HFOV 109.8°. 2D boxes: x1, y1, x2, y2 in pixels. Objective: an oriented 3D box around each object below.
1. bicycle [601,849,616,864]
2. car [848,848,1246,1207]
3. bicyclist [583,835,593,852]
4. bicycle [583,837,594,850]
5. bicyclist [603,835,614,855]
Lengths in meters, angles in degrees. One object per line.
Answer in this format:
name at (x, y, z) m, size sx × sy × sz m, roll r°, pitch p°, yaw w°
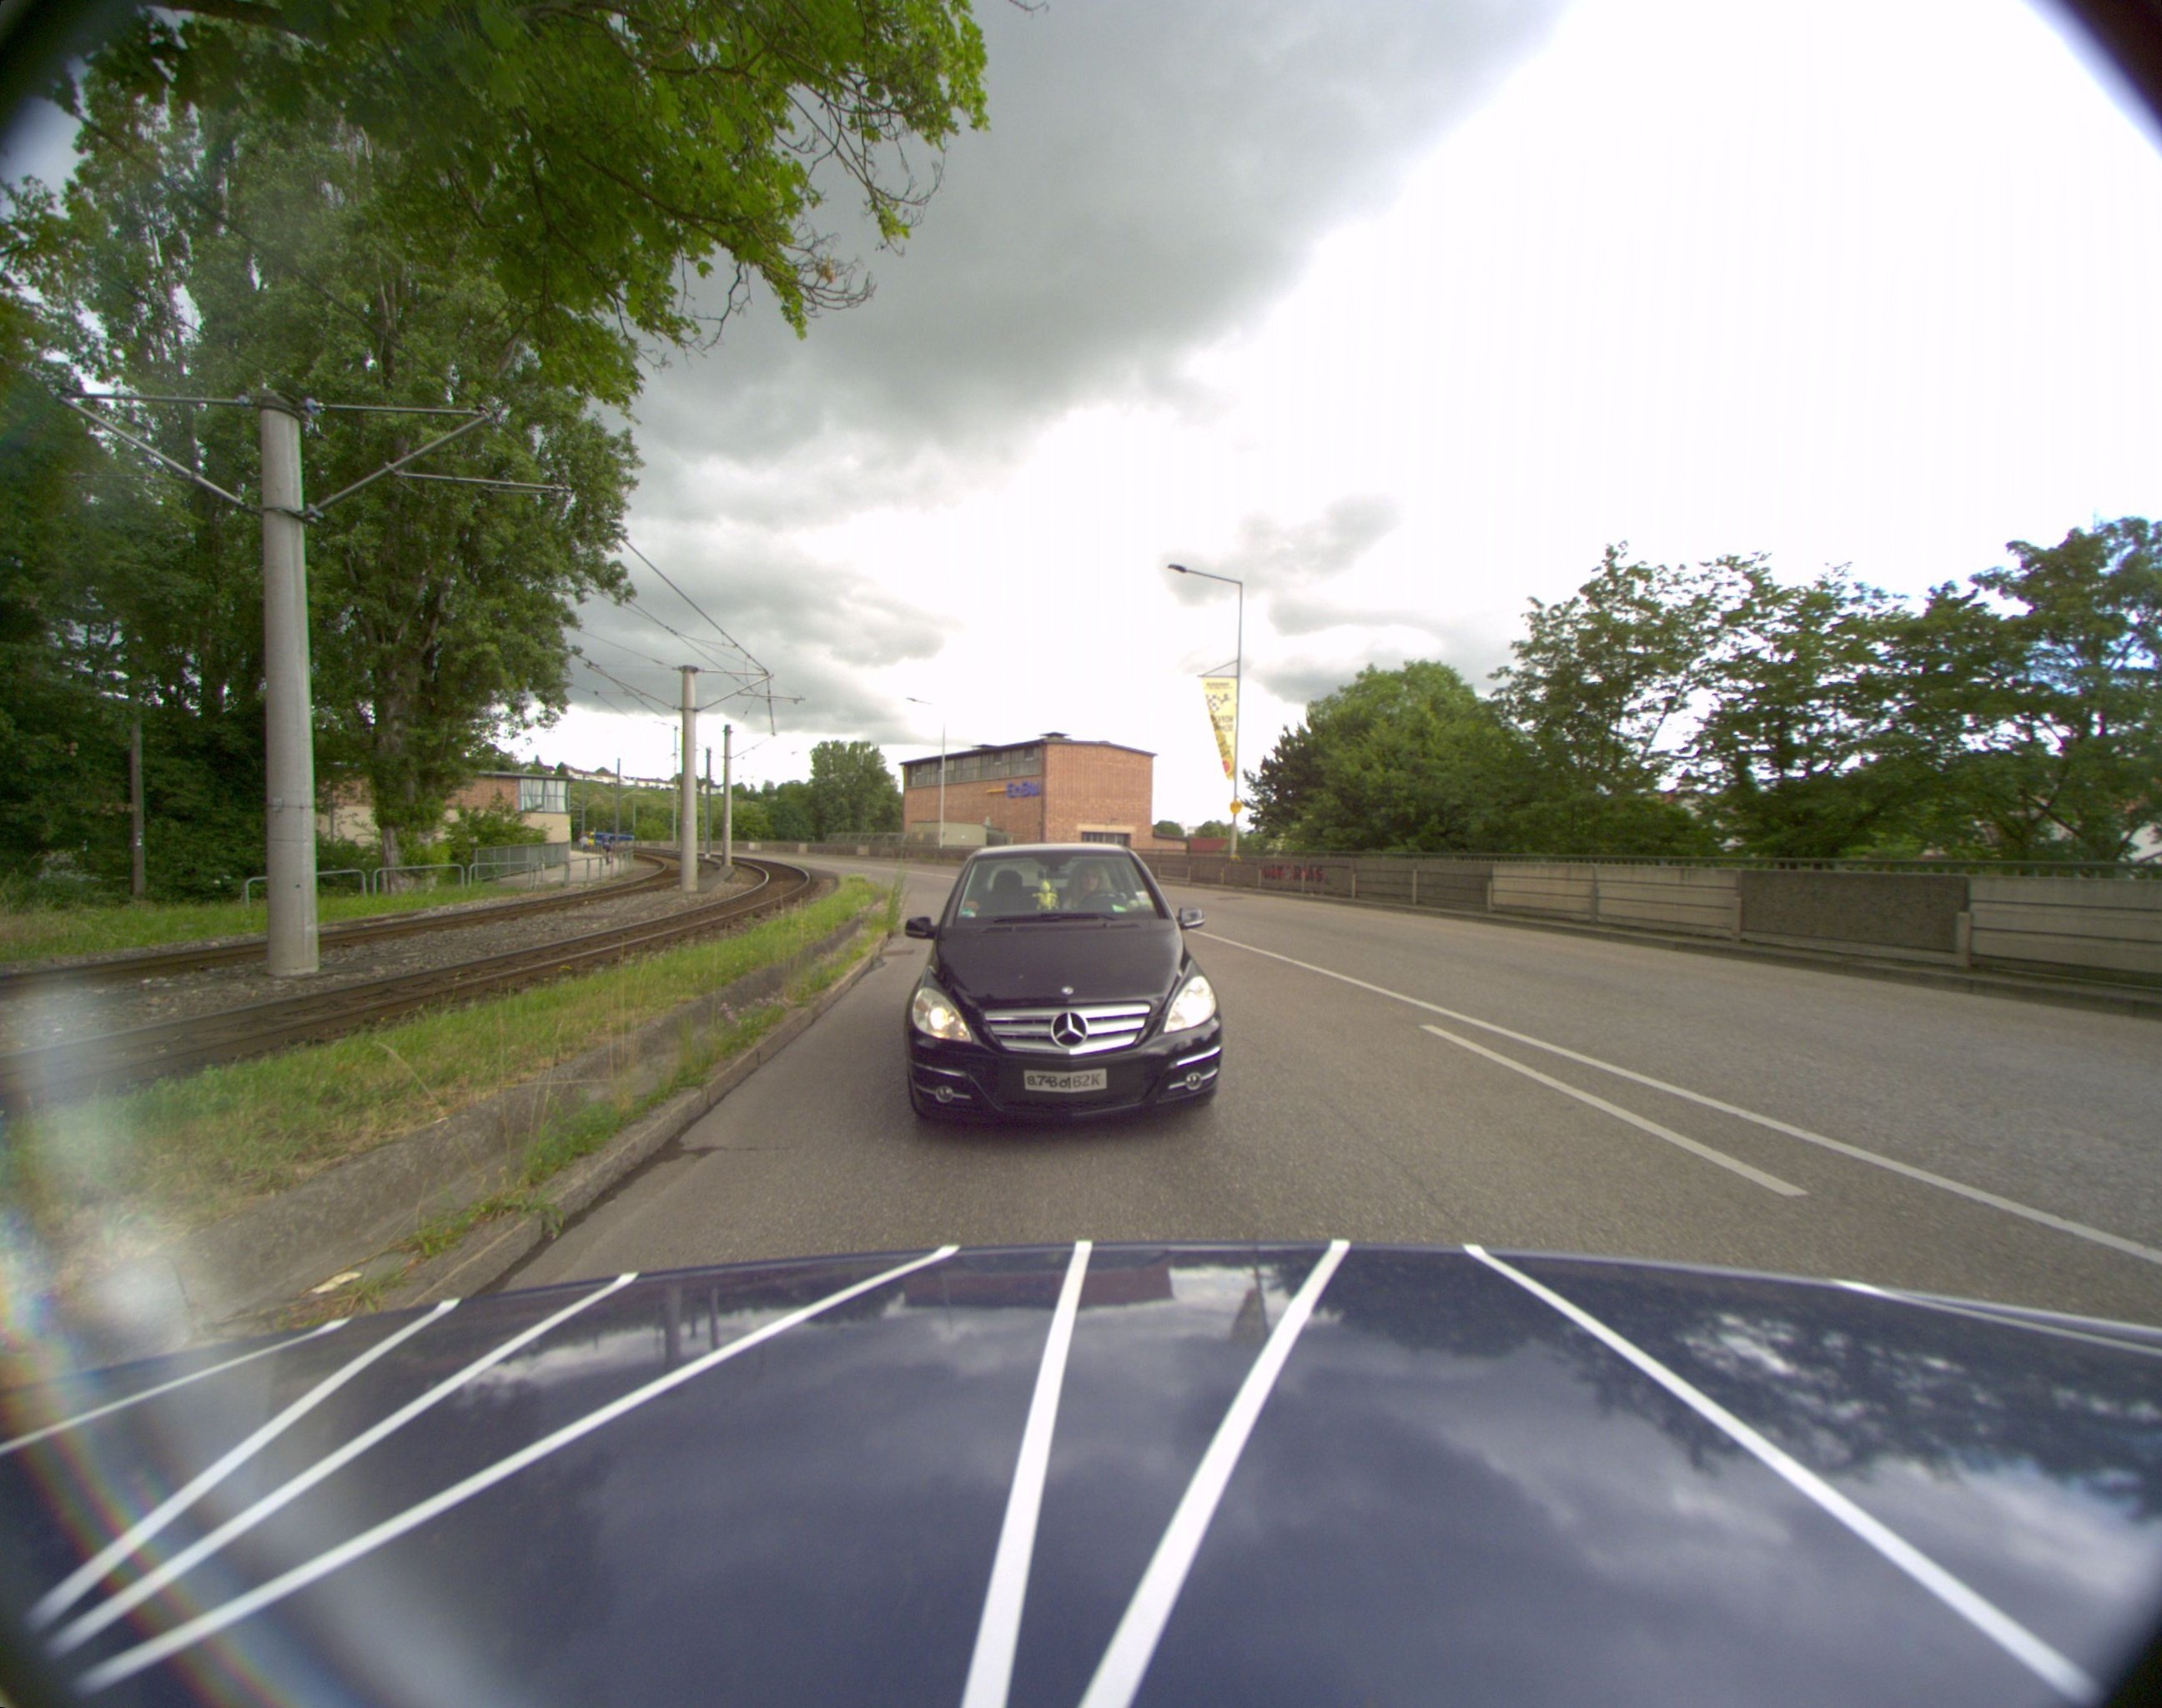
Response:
bicycle at (-25.640, 0.125, 41.260) m, size 0.348 × 0.790 × 1.545 m, roll 0°, pitch 1°, yaw -20°
car at (-0.202, 0.813, 5.588) m, size 1.861 × 1.612 × 3.998 m, roll 0°, pitch 2°, yaw -1°
bicyclist at (-41.374, -0.879, 63.769) m, size 0.596 × 1.353 × 0.908 m, roll -2°, pitch 2°, yaw -41°
bicycle at (-41.366, -0.889, 63.836) m, size 0.428 × 1.044 × 2.074 m, roll -2°, pitch 2°, yaw -42°
bicyclist at (-25.647, -0.473, 41.230) m, size 0.418 × 1.077 × 0.473 m, roll 0°, pitch 1°, yaw -20°
